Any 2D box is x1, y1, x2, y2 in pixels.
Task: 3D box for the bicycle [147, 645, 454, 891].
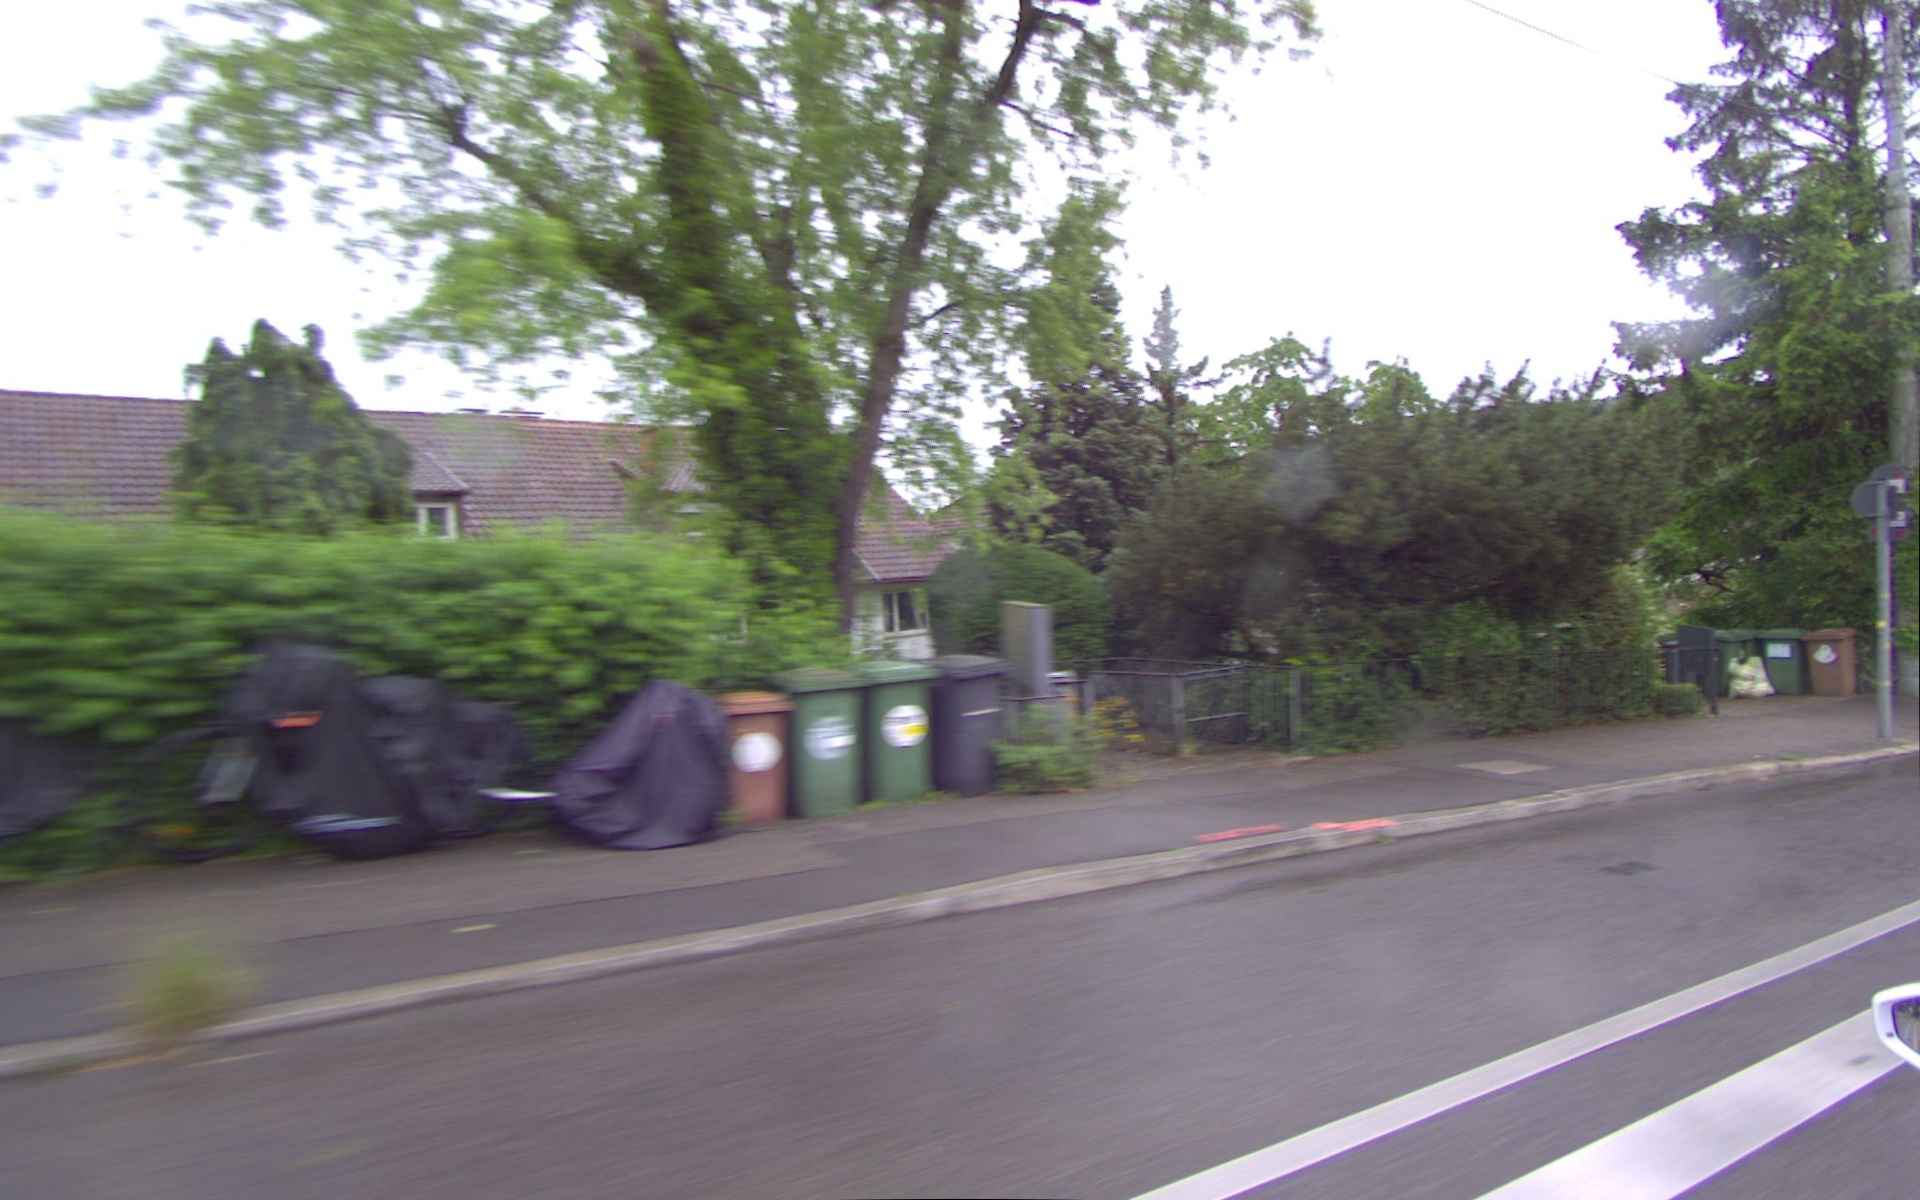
[{"bbox_3d":[-3.292,0.801,5.103,1.242,1.122,0.336,2,0,-31],"label":"bicycle"}]
